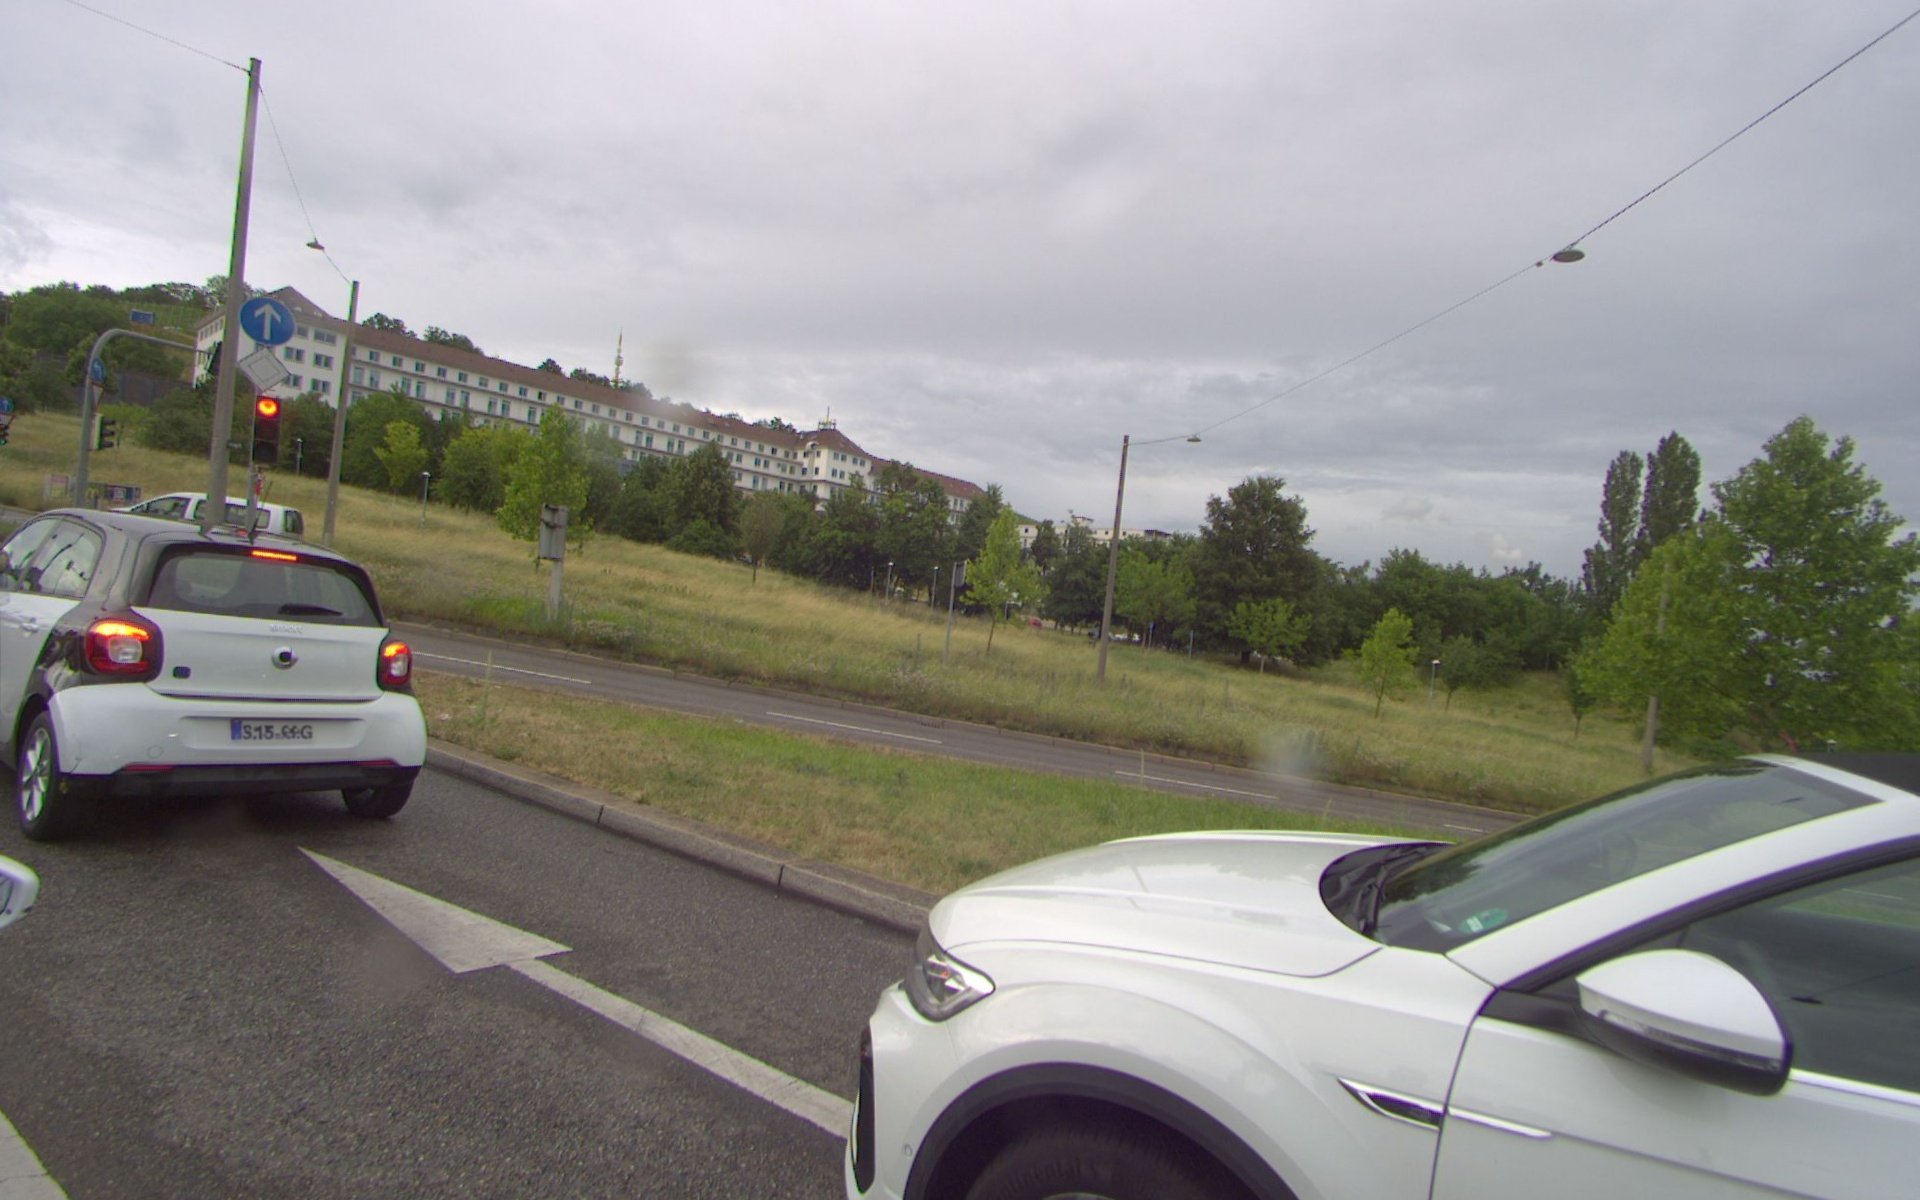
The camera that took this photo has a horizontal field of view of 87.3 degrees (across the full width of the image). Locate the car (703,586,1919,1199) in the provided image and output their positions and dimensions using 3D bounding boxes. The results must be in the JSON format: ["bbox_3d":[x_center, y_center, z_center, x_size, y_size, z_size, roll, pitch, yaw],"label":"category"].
[{"bbox_3d":[1.734,1.018,1.802,4.157,1.571,1.717,6,-2,29],"label":"car"}]

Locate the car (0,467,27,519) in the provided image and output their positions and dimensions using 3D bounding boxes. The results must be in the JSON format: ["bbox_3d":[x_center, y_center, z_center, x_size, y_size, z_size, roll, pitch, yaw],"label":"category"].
[{"bbox_3d":[-34.779,-4.007,33.723,4.766,1.636,2.000,9,-2,-4],"label":"car"}]

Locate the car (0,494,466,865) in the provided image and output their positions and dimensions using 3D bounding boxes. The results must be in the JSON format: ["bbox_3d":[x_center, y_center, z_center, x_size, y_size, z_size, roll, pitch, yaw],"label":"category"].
[{"bbox_3d":[-4.645,0.291,5.830,3.397,1.520,1.659,6,-2,36],"label":"car"}]

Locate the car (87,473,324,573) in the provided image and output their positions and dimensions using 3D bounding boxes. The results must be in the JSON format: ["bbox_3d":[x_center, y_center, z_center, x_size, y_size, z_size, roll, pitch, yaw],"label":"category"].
[{"bbox_3d":[-20.303,-2.023,27.300,4.625,1.871,1.818,8,-2,-15],"label":"car"}]
